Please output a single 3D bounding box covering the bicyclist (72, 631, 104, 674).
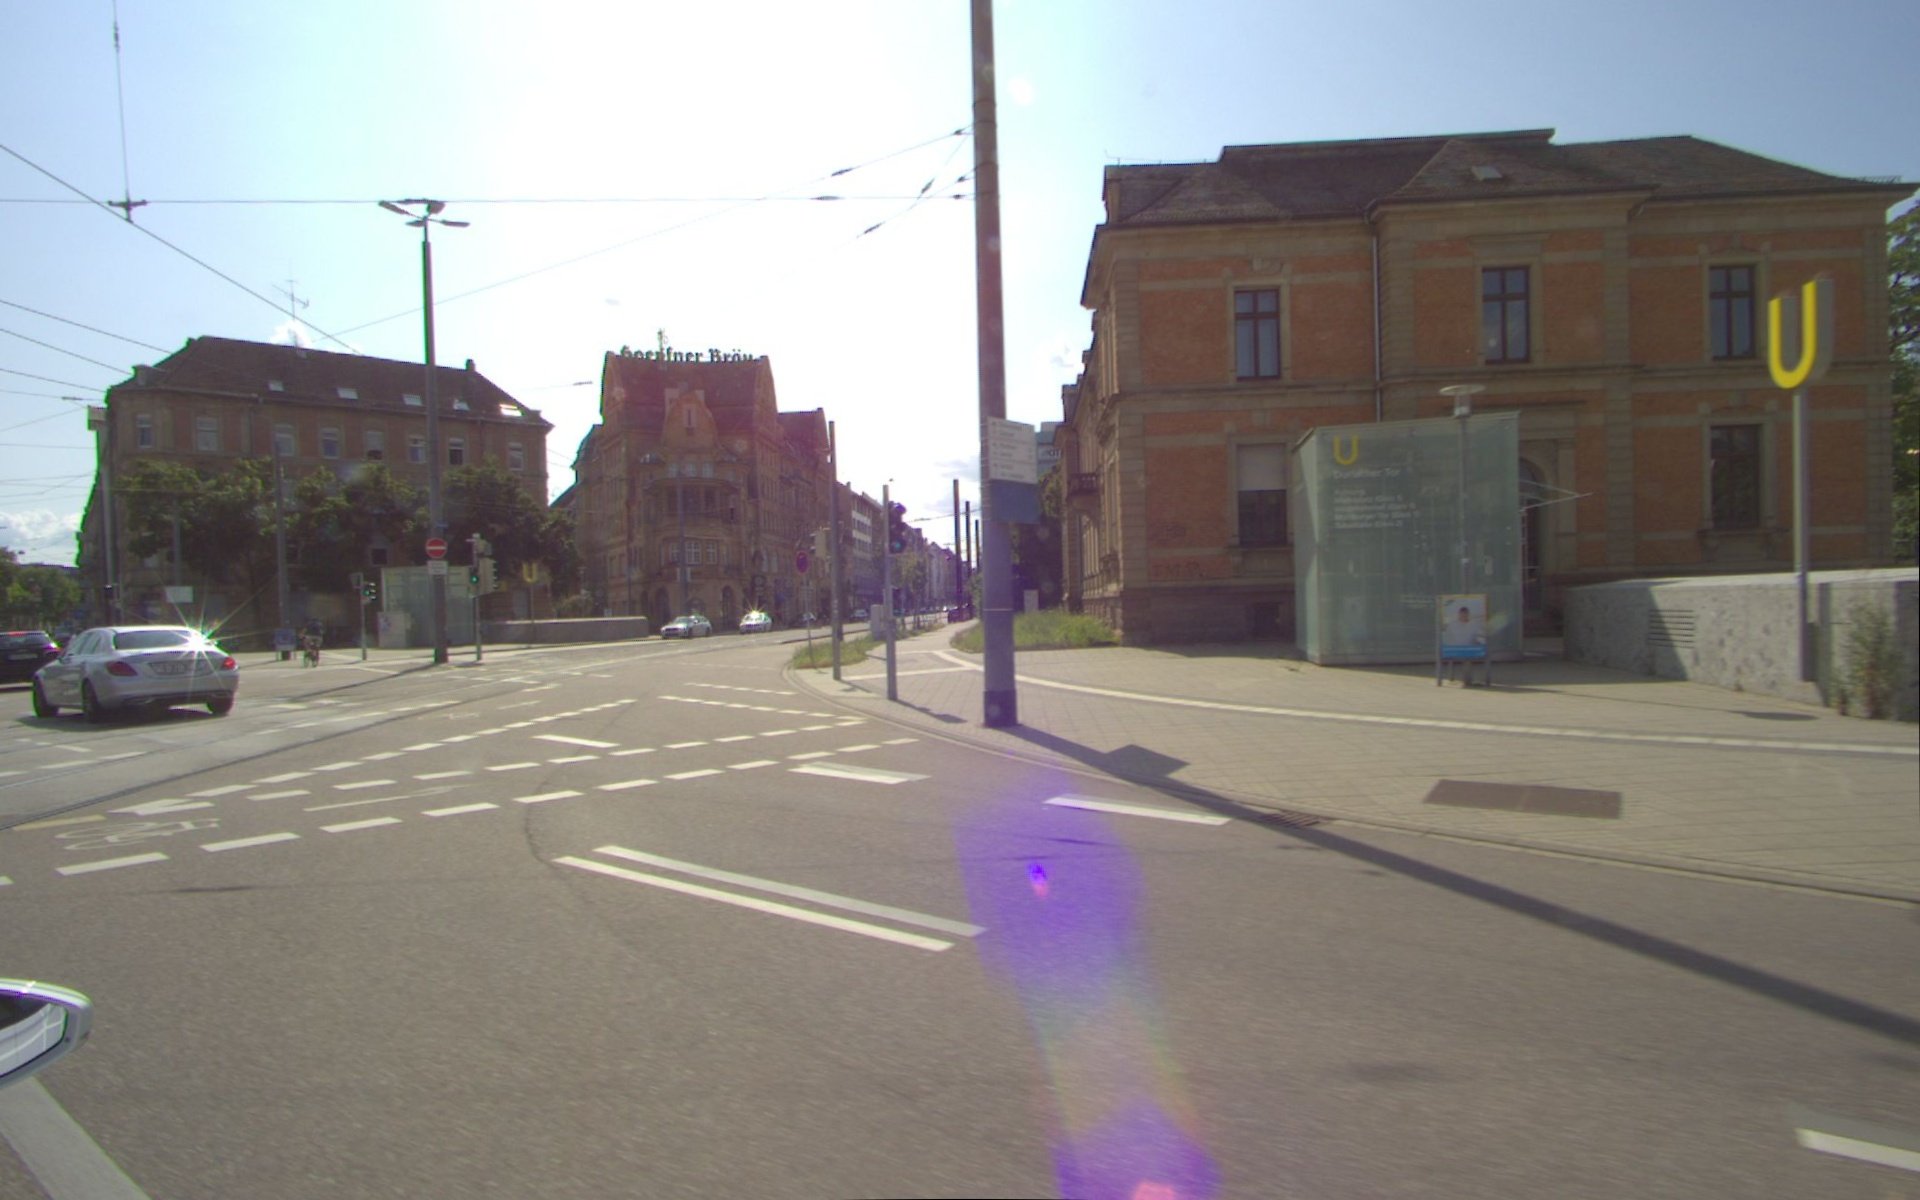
[{"bbox_3d":[-31.185,1.872,35.803,0.763,1.470,0.607,-1,1,30],"label":"bicyclist"}]

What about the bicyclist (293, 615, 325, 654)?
[{"bbox_3d":[-21.307,1.118,32.758,0.914,1.236,0.631,-1,2,44],"label":"bicyclist"}]

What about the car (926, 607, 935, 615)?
[{"bbox_3d":[-7.074,2.642,239.188,1.961,1.839,4.001,-1,-1,2],"label":"car"}]

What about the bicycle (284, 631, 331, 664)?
[{"bbox_3d":[-21.454,1.548,32.913,1.940,0.983,0.842,-1,1,43],"label":"bicycle"}]

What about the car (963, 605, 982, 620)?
[{"bbox_3d":[1.626,1.619,130.510,1.961,1.839,3.999,-1,0,6],"label":"car"}]

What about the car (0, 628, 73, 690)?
[{"bbox_3d":[-23.533,1.428,24.950,4.088,1.390,1.689,-2,0,43],"label":"car"}]

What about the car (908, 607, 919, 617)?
[{"bbox_3d":[-9.094,2.314,196.684,1.961,1.839,4.001,-1,-1,2],"label":"car"}]

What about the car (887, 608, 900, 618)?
[{"bbox_3d":[-12.008,2.355,180.531,1.961,1.839,4.001,-1,-1,2],"label":"car"}]

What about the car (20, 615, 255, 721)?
[{"bbox_3d":[-13.615,1.065,16.481,4.699,1.474,1.923,-2,-1,37],"label":"car"}]

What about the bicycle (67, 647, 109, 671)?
[{"bbox_3d":[-31.177,2.106,35.802,1.597,0.786,0.584,-2,0,29],"label":"bicycle"}]

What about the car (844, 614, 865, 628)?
[{"bbox_3d":[-12.100,2.391,114.743,1.857,1.438,4.001,-1,-1,2],"label":"car"}]

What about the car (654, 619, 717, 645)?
[{"bbox_3d":[-17.491,2.017,64.004,2.008,1.448,4.536,-3,-1,11],"label":"car"}]

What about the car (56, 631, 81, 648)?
[{"bbox_3d":[-91.788,4.078,103.106,1.822,1.673,3.967,-1,-2,-41],"label":"car"}]

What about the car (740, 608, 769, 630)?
[{"bbox_3d":[-14.738,1.332,71.784,1.954,1.503,3.996,-2,0,-12],"label":"car"}]

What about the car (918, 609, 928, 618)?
[{"bbox_3d":[-8.232,3.021,221.328,1.961,1.839,4.001,-1,-1,2],"label":"car"}]

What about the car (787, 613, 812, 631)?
[{"bbox_3d":[-15.697,2.120,97.864,1.687,1.704,3.927,-1,-1,2],"label":"car"}]

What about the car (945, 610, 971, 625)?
[{"bbox_3d":[-0.213,1.770,100.449,1.962,1.394,3.998,-2,0,9],"label":"car"}]
